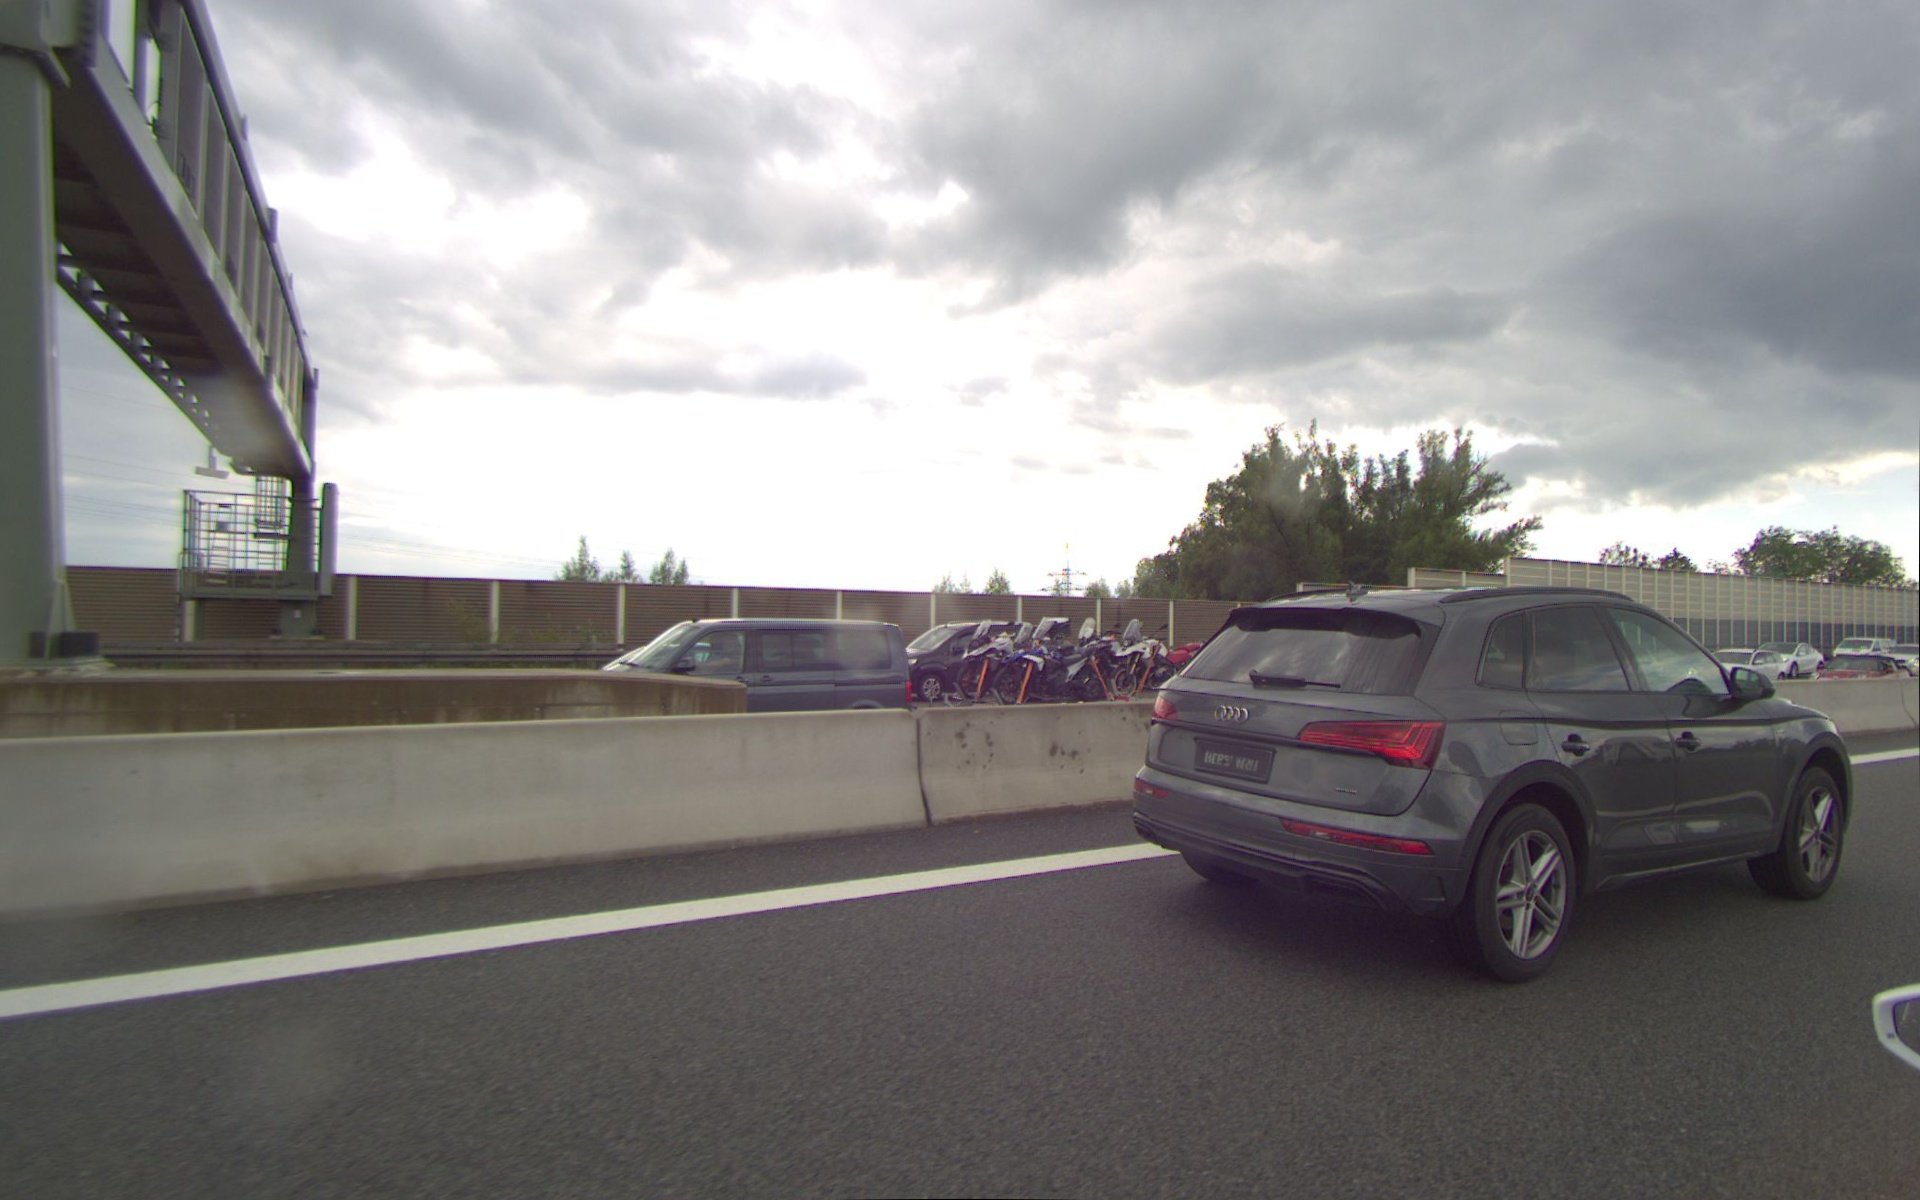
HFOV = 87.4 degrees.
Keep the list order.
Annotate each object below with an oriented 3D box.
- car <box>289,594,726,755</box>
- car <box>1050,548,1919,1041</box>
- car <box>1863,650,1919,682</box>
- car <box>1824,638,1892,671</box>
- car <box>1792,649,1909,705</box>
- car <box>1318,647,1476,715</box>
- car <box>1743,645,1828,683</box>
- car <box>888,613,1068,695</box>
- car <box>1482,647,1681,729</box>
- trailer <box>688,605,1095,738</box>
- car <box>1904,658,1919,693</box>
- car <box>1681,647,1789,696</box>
[{"bbox_3d":[-5.588,0.882,12.801,4.750,1.731,1.808,2,-2,-30],"label":"car"},{"bbox_3d":[3.141,0.735,5.618,5.108,1.713,1.899,1,-1,-30],"label":"car"},{"bbox_3d":[50.619,3.515,54.106,4.127,1.632,1.740,1,-1,-30],"label":"car"},{"bbox_3d":[54.570,3.281,61.015,4.727,1.918,1.739,2,-1,-31],"label":"car"},{"bbox_3d":[28.543,2.426,32.184,3.703,1.652,1.739,1,-1,-30],"label":"car"},{"bbox_3d":[11.702,2.105,26.851,4.114,1.652,1.740,1,-1,-28],"label":"car"},{"bbox_3d":[38.703,2.962,47.058,4.593,1.652,1.738,2,-1,-32],"label":"car"},{"bbox_3d":[0.467,1.282,24.567,4.118,1.872,1.739,2,-1,-31],"label":"car"},{"bbox_3d":[15.106,2.053,24.344,5.046,1.767,1.873,1,-1,-28],"label":"car"},{"bbox_3d":[-0.942,1.030,15.566,5.975,1.731,2.134,2,-2,-30],"label":"trailer"},{"bbox_3d":[46.525,3.579,47.637,3.576,1.601,1.613,1,-1,-30],"label":"car"},{"bbox_3d":[28.277,2.572,36.628,4.117,1.652,1.739,2,-1,-31],"label":"car"}]
